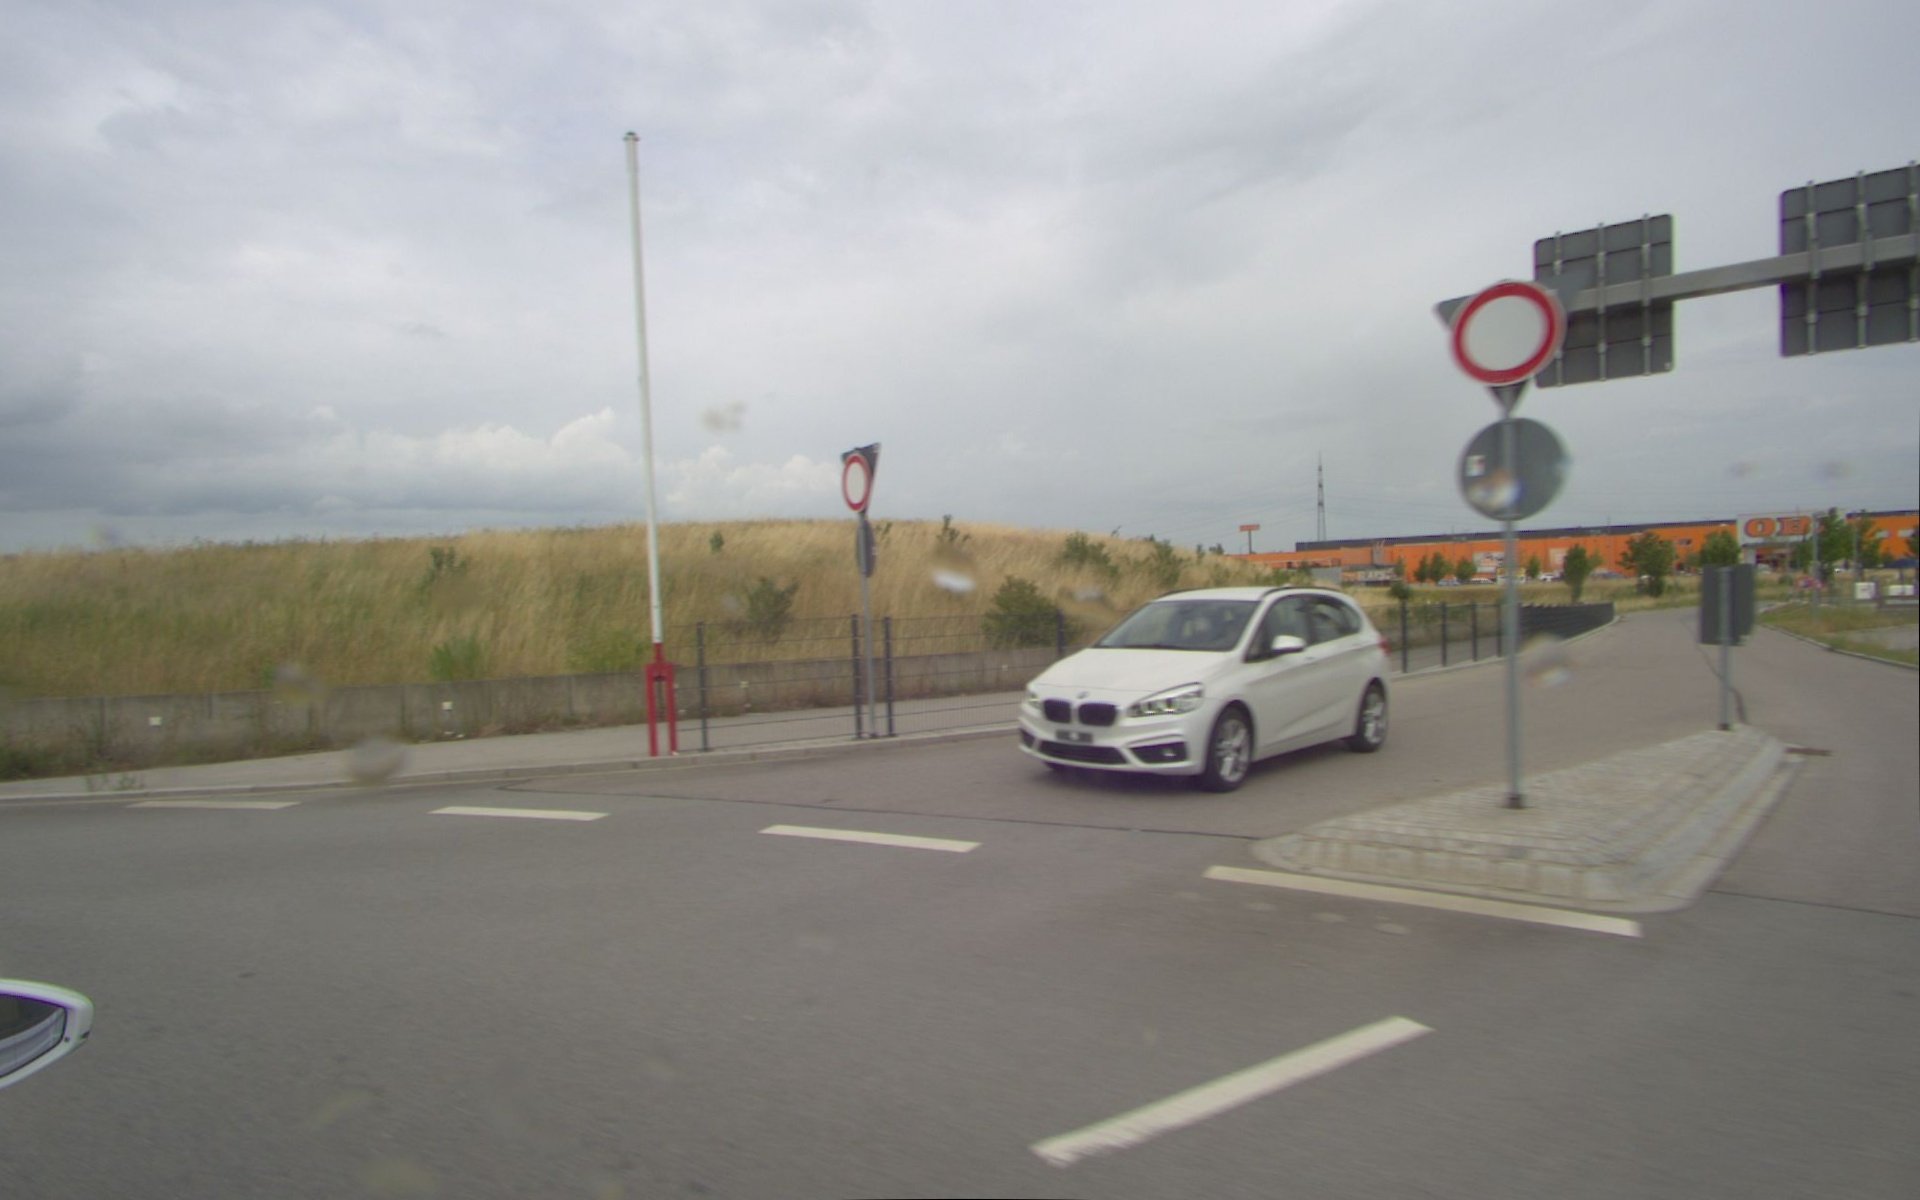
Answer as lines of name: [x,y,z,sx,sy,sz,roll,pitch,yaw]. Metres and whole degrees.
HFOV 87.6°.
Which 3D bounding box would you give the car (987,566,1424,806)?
car: [2.407,0.590,9.035,4.383,1.650,1.767,-1,0,-44]
